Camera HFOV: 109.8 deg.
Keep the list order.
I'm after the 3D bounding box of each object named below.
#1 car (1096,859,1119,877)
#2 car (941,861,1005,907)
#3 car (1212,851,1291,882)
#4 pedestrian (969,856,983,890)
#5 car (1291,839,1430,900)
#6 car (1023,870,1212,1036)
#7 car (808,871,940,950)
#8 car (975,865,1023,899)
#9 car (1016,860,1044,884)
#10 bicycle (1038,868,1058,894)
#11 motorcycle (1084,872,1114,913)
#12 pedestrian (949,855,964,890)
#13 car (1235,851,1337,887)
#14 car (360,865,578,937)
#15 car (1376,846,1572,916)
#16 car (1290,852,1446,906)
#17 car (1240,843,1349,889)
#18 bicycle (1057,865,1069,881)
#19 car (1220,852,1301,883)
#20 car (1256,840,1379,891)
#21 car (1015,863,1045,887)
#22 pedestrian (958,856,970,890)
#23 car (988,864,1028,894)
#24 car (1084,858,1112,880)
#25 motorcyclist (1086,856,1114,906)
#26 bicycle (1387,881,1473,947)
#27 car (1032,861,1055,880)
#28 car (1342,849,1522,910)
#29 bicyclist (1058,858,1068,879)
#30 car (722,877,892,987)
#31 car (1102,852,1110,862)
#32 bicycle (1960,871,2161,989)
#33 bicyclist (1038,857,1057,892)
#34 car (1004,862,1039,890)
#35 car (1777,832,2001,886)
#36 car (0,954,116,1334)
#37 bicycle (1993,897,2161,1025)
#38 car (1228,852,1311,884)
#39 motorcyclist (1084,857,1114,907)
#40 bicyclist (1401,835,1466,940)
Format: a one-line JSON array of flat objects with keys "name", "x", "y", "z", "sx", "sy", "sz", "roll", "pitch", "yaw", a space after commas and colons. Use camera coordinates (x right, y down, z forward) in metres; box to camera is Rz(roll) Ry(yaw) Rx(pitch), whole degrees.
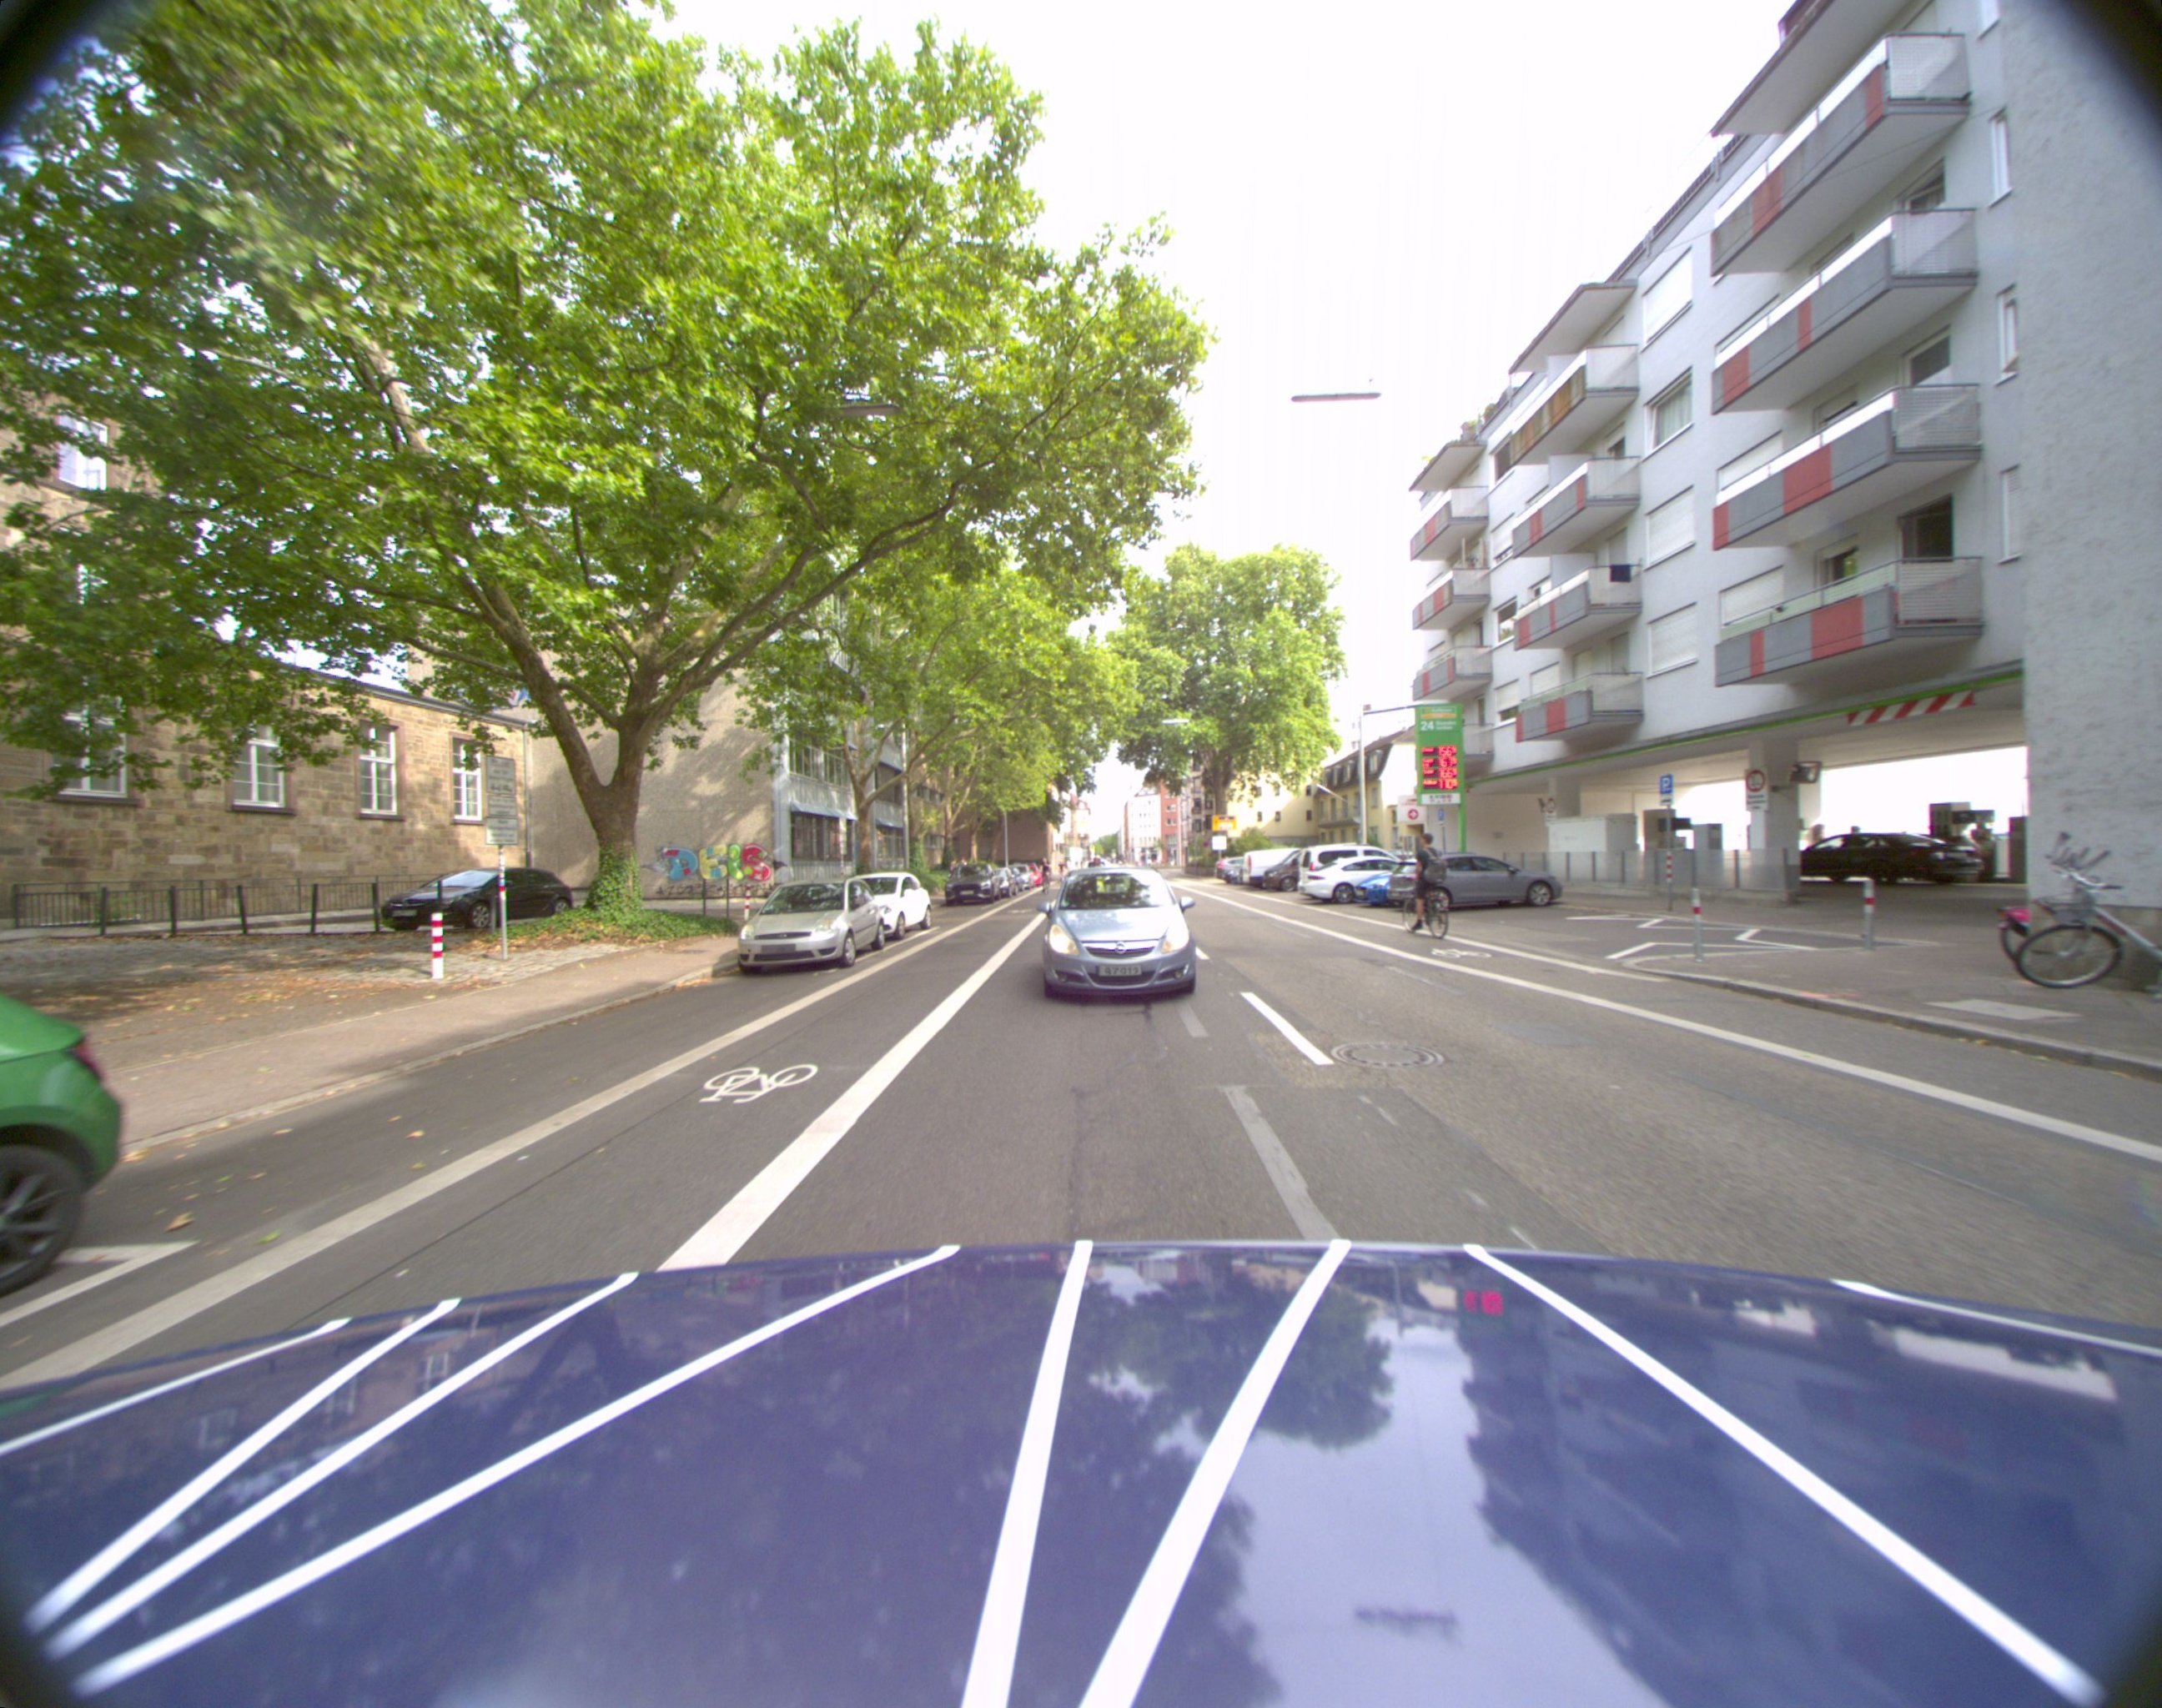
[{"name": "car", "x": 2.565, "y": 1.375, "z": 74.326, "sx": 1.935, "sy": 1.637, "sz": 3.999, "roll": -1, "pitch": 0, "yaw": -2}, {"name": "car", "x": -4.381, "y": 1.179, "z": 31.409, "sx": 1.926, "sy": 1.612, "sz": 4.481, "roll": -3, "pitch": 0, "yaw": 0}, {"name": "car", "x": 10.697, "y": 0.782, "z": 47.923, "sx": 4.529, "sy": 1.596, "sz": 1.754, "roll": -4, "pitch": 0, "yaw": 2}, {"name": "pedestrian", "x": -5.615, "y": 0.995, "z": 40.645, "sx": 0.592, "sy": 1.775, "sz": 0.476, "roll": 2, "pitch": 1, "yaw": 0}, {"name": "car", "x": 9.961, "y": 0.550, "z": 27.319, "sx": 4.221, "sy": 1.837, "sz": 1.924, "roll": -4, "pitch": 0, "yaw": 2}, {"name": "car", "x": 0.394, "y": 0.967, "z": 9.202, "sx": 1.716, "sy": 1.412, "sz": 4.253, "roll": -2, "pitch": 0, "yaw": 1}, {"name": "car", "x": -4.672, "y": 1.219, "z": 17.825, "sx": 1.758, "sy": 1.438, "sz": 4.219, "roll": -3, "pitch": 0, "yaw": 2}, {"name": "car", "x": -3.874, "y": 1.300, "z": 36.586, "sx": 1.643, "sy": 1.424, "sz": 4.574, "roll": -3, "pitch": 0, "yaw": 2}, {"name": "car", "x": -3.851, "y": 1.323, "z": 57.584, "sx": 1.651, "sy": 1.654, "sz": 3.797, "roll": -3, "pitch": 0, "yaw": 2}, {"name": "bicycle", "x": -1.606, "y": 1.311, "z": 37.166, "sx": 0.763, "sy": 1.162, "sz": 1.950, "roll": -2, "pitch": 0, "yaw": 2}, {"name": "motorcycle", "x": 0.594, "y": 1.226, "z": 24.808, "sx": 0.904, "sy": 1.190, "sz": 2.631, "roll": -1, "pitch": 0, "yaw": 1}, {"name": "pedestrian", "x": -6.715, "y": 0.995, "z": 40.971, "sx": 0.643, "sy": 1.823, "sz": 0.645, "roll": 2, "pitch": 1, "yaw": 0}, {"name": "car", "x": 10.456, "y": 0.754, "z": 38.989, "sx": 4.716, "sy": 1.461, "sz": 1.874, "roll": -4, "pitch": 0, "yaw": 2}, {"name": "car", "x": -14.149, "y": 1.046, "z": 17.956, "sx": 1.673, "sy": 1.441, "sz": 4.299, "roll": -2, "pitch": -2, "yaw": 0}, {"name": "car", "x": 10.266, "y": 0.689, "z": 20.084, "sx": 4.161, "sy": 1.504, "sz": 1.837, "roll": -4, "pitch": 0, "yaw": 2}, {"name": "car", "x": 9.241, "y": 0.789, "z": 24.724, "sx": 4.281, "sy": 1.442, "sz": 1.874, "roll": -4, "pitch": 0, "yaw": 2}, {"name": "car", "x": 10.184, "y": 0.587, "z": 36.555, "sx": 4.627, "sy": 1.848, "sz": 1.950, "roll": -4, "pitch": 0, "yaw": 2}, {"name": "bicycle", "x": -1.413, "y": 1.503, "z": 60.121, "sx": 0.763, "sy": 1.162, "sz": 1.950, "roll": -2, "pitch": 0, "yaw": 2}, {"name": "car", "x": 10.723, "y": 0.788, "z": 45.607, "sx": 4.372, "sy": 1.540, "sz": 1.733, "roll": -4, "pitch": 0, "yaw": 2}, {"name": "car", "x": 10.518, "y": 0.516, "z": 34.080, "sx": 4.778, "sy": 1.923, "sz": 1.994, "roll": -4, "pitch": 0, "yaw": 2}, {"name": "car", "x": -3.441, "y": 1.416, "z": 51.852, "sx": 1.602, "sy": 1.438, "sz": 4.105, "roll": -3, "pitch": 0, "yaw": 2}, {"name": "pedestrian", "x": -6.253, "y": 1.015, "z": 40.645, "sx": 0.502, "sy": 1.775, "sz": 0.527, "roll": 2, "pitch": 1, "yaw": 0}, {"name": "car", "x": -3.920, "y": 1.299, "z": 41.174, "sx": 1.602, "sy": 1.414, "sz": 3.956, "roll": -3, "pitch": 0, "yaw": 2}, {"name": "car", "x": 1.310, "y": 1.127, "z": 58.750, "sx": 2.000, "sy": 1.556, "sz": 4.551, "roll": -2, "pitch": 0, "yaw": 1}, {"name": "motorcyclist", "x": 0.630, "y": 0.897, "z": 25.518, "sx": 0.904, "sy": 1.608, "sz": 0.691, "roll": -1, "pitch": 0, "yaw": 1}, {"name": "bicycle", "x": 6.385, "y": 1.063, "z": 14.027, "sx": 0.647, "sy": 1.008, "sz": 2.077, "roll": -2, "pitch": 0, "yaw": 1}, {"name": "car", "x": -3.272, "y": 1.396, "z": 66.834, "sx": 1.602, "sy": 1.516, "sz": 3.956, "roll": -3, "pitch": 0, "yaw": 2}, {"name": "car", "x": 10.162, "y": 0.727, "z": 22.271, "sx": 4.311, "sy": 1.442, "sz": 1.911, "roll": -4, "pitch": 0, "yaw": 2}, {"name": "bicyclist", "x": -1.418, "y": 1.119, "z": 60.126, "sx": 0.748, "sy": 1.590, "sz": 0.819, "roll": -2, "pitch": 0, "yaw": 2}, {"name": "car", "x": -4.532, "y": 1.216, "z": 13.187, "sx": 1.647, "sy": 1.438, "sz": 3.881, "roll": -3, "pitch": 0, "yaw": -3}, {"name": "car", "x": 6.513, "y": 0.769, "z": 195.822, "sx": 1.998, "sy": 2.546, "sz": 4.799, "roll": -2, "pitch": 0, "yaw": 2}, {"name": "bicycle", "x": 10.308, "y": 0.775, "z": 7.888, "sx": 1.775, "sy": 1.111, "sz": 0.453, "roll": -2, "pitch": 0, "yaw": 1}, {"name": "bicyclist", "x": -1.630, "y": 0.991, "z": 37.094, "sx": 0.764, "sy": 1.698, "sz": 0.917, "roll": -2, "pitch": 0, "yaw": 2}, {"name": "car", "x": -3.621, "y": 1.320, "z": 46.676, "sx": 1.602, "sy": 1.496, "sz": 4.441, "roll": -3, "pitch": 0, "yaw": 2}, {"name": "car", "x": 21.813, "y": 0.124, "z": 20.790, "sx": 1.912, "sy": 1.290, "sz": 4.000, "roll": -2, "pitch": 0, "yaw": 1}, {"name": "car", "x": -5.040, "y": 1.207, "z": 1.402, "sx": 1.591, "sy": 1.441, "sz": 3.805, "roll": -4, "pitch": 0, "yaw": -1}, {"name": "bicycle", "x": 8.960, "y": 0.887, "z": 6.381, "sx": 0.598, "sy": 0.945, "sz": 1.663, "roll": -2, "pitch": 0, "yaw": 1}, {"name": "car", "x": 10.710, "y": 0.794, "z": 43.478, "sx": 4.275, "sy": 1.502, "sz": 1.719, "roll": -4, "pitch": 0, "yaw": 2}, {"name": "motorcyclist", "x": 0.591, "y": 0.902, "z": 24.809, "sx": 0.904, "sy": 1.608, "sz": 0.691, "roll": -1, "pitch": 0, "yaw": 1}, {"name": "bicyclist", "x": 6.361, "y": 0.578, "z": 13.748, "sx": 0.653, "sy": 1.800, "sz": 1.045, "roll": -2, "pitch": 1, "yaw": 1}]
